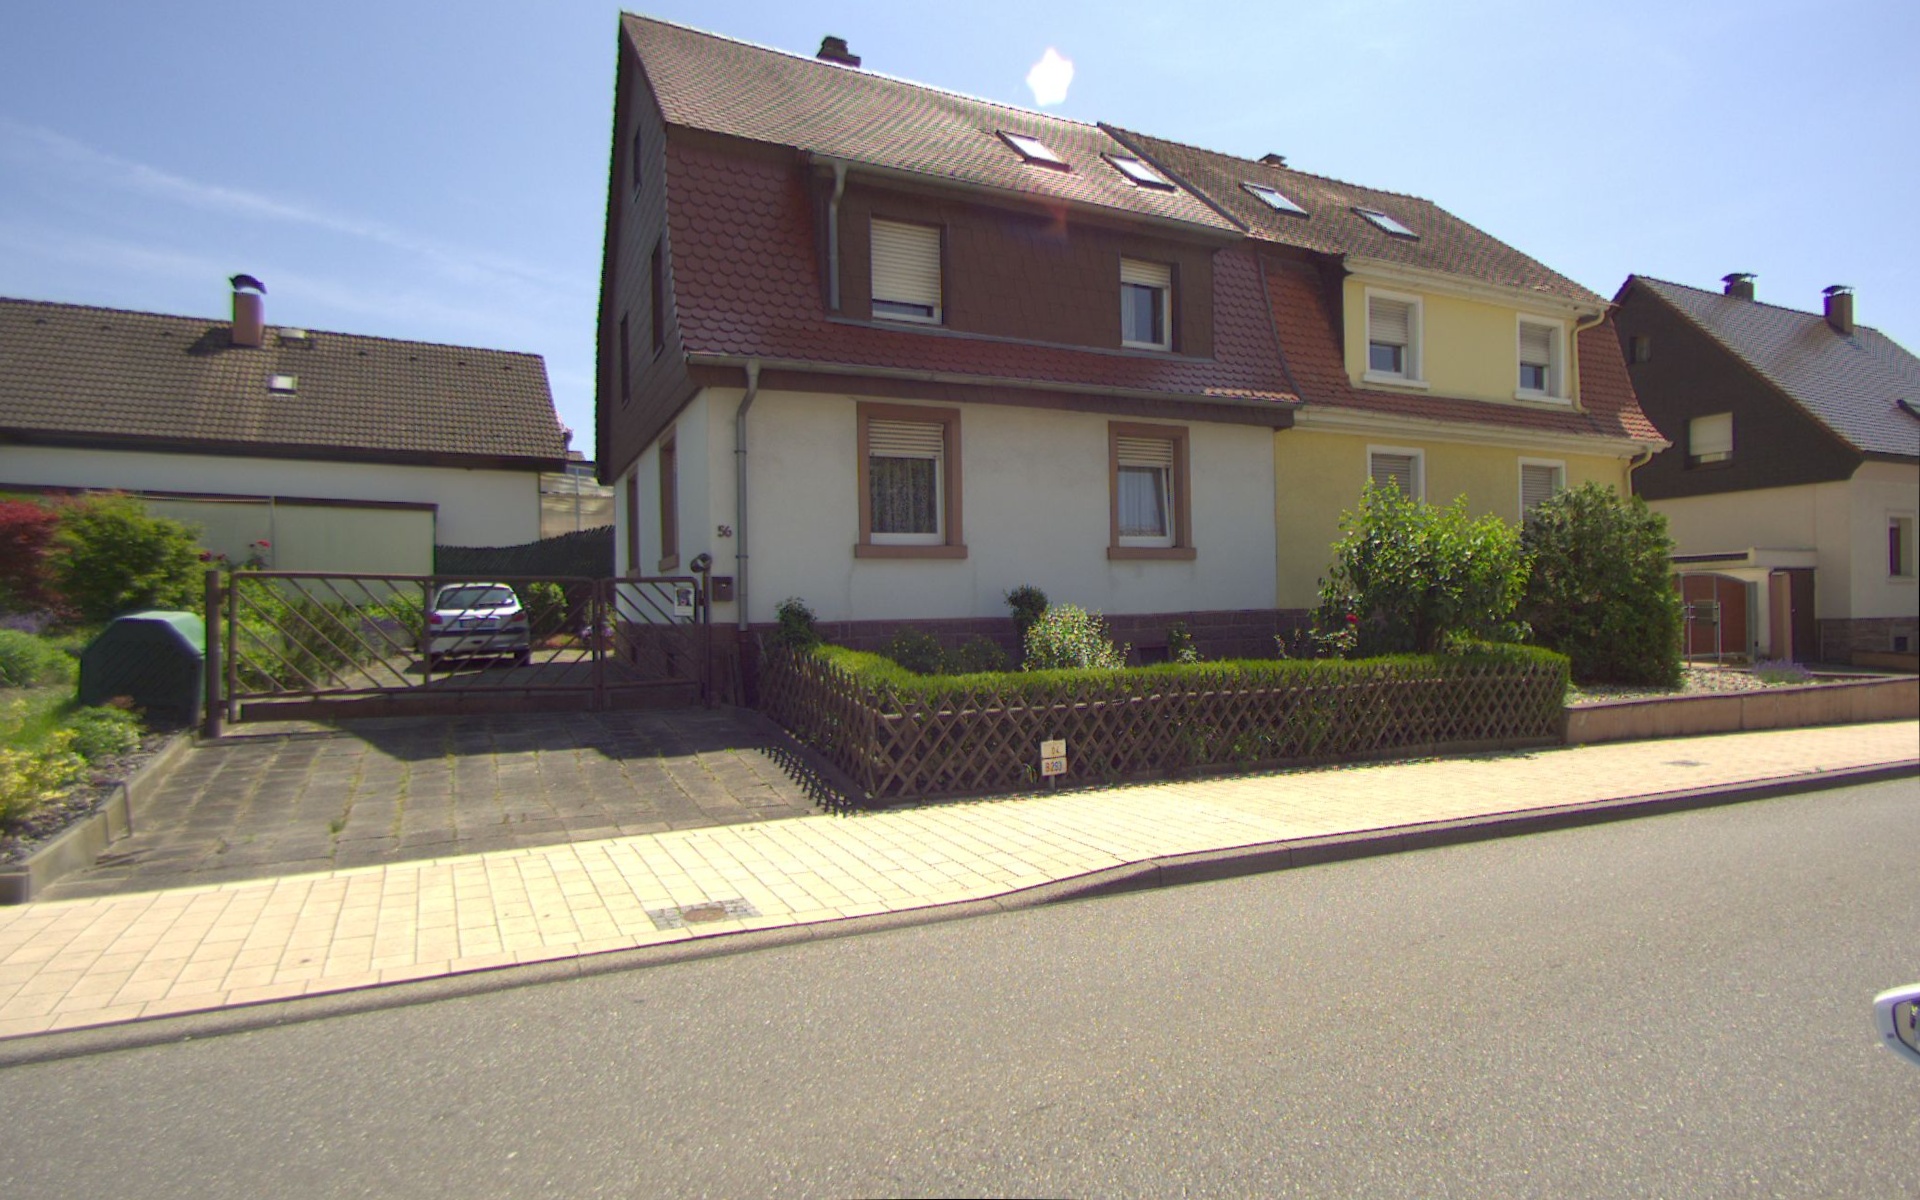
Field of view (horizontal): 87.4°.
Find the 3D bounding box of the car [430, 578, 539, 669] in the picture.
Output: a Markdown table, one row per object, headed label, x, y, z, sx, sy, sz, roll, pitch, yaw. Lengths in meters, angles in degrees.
| label | x | y | z | sx | sy | sz | roll | pitch | yaw |
| --- | --- | --- | --- | --- | --- | --- | --- | --- | --- |
| car | -8.713 | 0.391 | 18.254 | 1.560 | 1.411 | 3.774 | -3 | 1 | -28 |
